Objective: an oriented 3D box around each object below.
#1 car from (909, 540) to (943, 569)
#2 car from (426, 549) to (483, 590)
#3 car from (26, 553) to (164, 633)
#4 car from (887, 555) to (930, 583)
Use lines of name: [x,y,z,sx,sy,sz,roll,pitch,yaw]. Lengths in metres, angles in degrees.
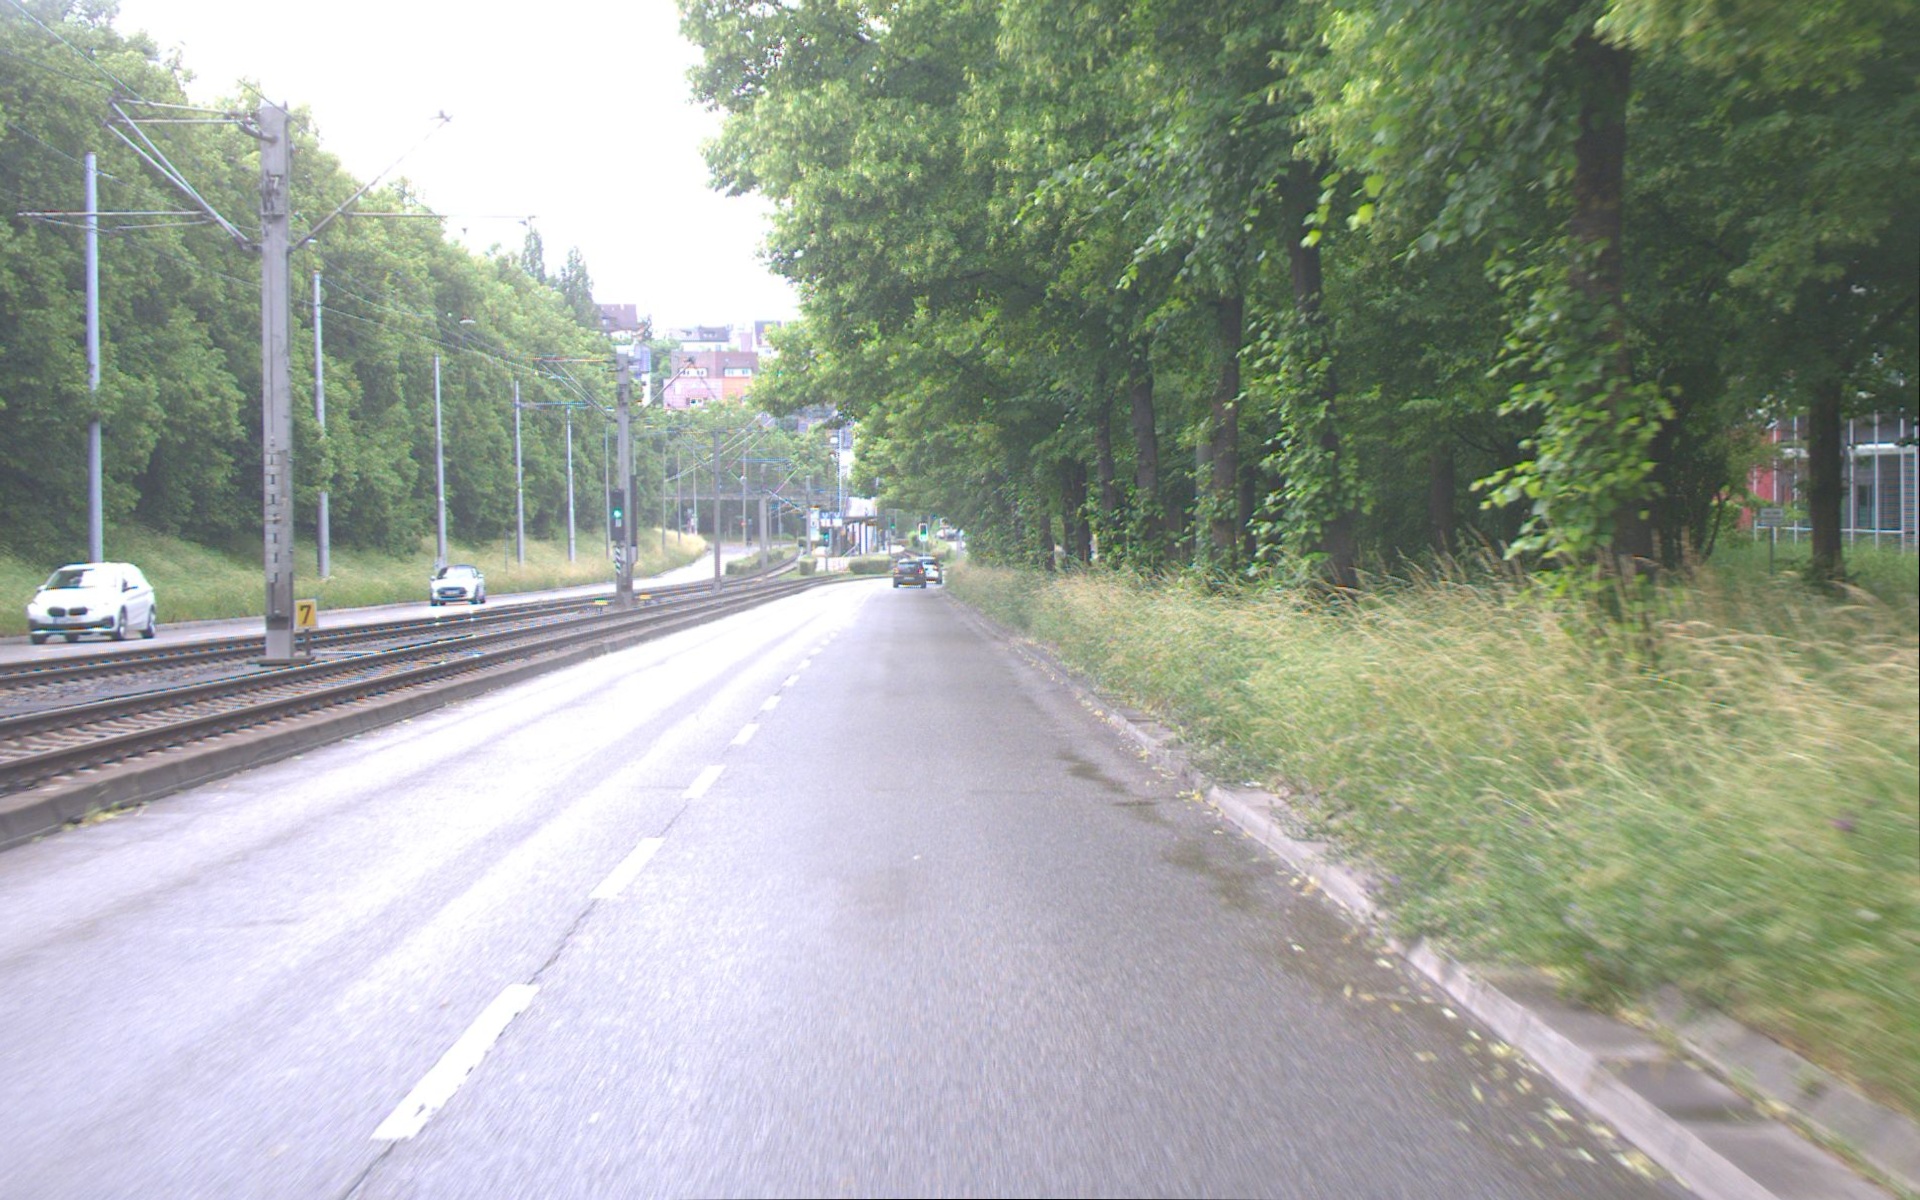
car: [-2.016,-2.682,202.804,1.993,1.645,4.000,0,1,0]
car: [-18.545,-1.144,126.274,1.476,1.431,3.909,-2,1,0]
car: [-17.210,-0.162,68.552,1.653,1.524,4.381,0,1,0]
car: [-2.696,-1.628,179.451,2.194,1.325,4.001,0,2,-1]
